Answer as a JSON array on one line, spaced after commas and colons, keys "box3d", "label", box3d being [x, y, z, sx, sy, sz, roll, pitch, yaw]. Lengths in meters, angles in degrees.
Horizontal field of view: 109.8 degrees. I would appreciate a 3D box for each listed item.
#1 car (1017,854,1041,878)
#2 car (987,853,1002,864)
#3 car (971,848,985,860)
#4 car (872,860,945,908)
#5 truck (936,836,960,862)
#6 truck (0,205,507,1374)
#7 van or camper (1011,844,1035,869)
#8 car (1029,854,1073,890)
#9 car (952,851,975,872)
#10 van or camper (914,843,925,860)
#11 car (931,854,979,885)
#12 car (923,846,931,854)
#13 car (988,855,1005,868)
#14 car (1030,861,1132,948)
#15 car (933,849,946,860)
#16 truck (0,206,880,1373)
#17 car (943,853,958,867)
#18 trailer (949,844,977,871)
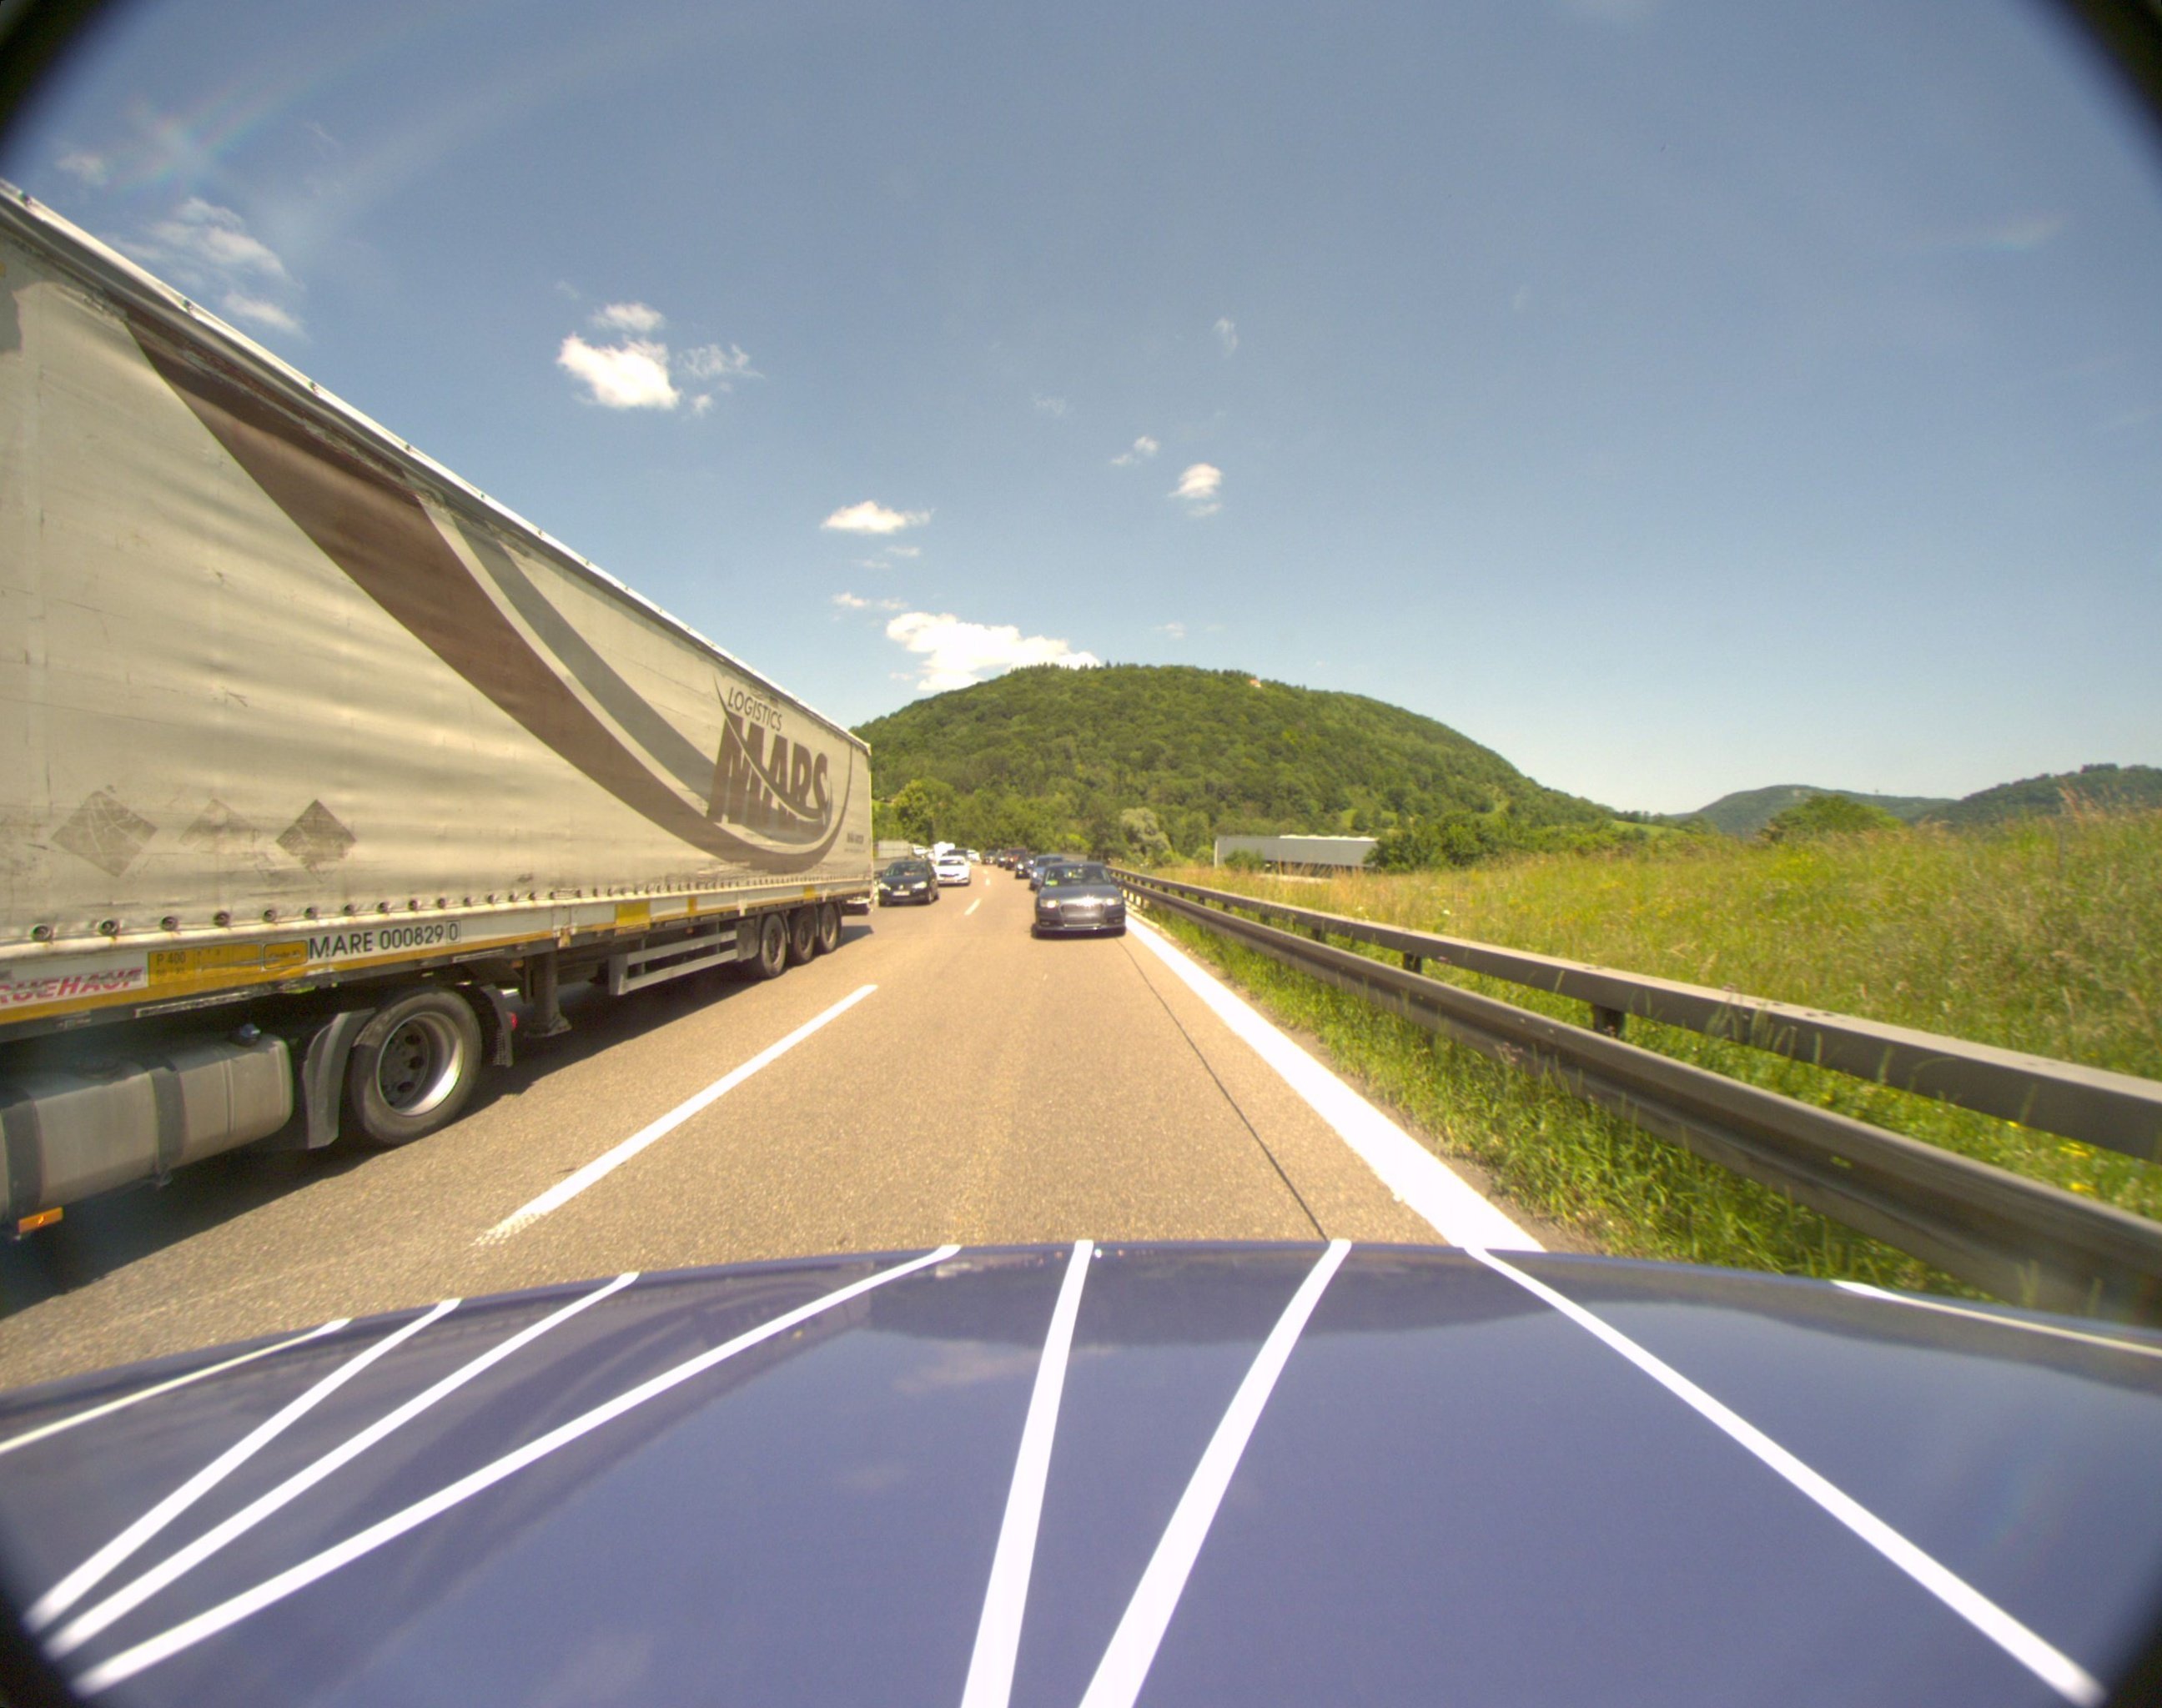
[{"box3d": [-3.074, 0.671, 44.579, 1.287, 1.305, 3.451, -2, 0, -5], "label": "car"}, {"box3d": [-10.104, 0.528, 88.509, 1.492, 1.102, 3.211, -2, 1, -9], "label": "car"}, {"box3d": [-14.223, 0.008, 104.728, 1.532, 1.627, 3.415, -4, 0, -13], "label": "car"}, {"box3d": [-5.659, 0.942, 25.363, 1.696, 1.414, 3.837, -2, 0, -3], "label": "car"}, {"box3d": [-16.787, -0.592, 95.442, 2.605, 3.089, 6.852, -4, 0, -11], "label": "truck"}, {"box3d": [-5.072, -0.212, 2.017, 2.726, 4.044, 5.752, -2, 1, -2], "label": "truck"}, {"box3d": [-4.674, 0.205, 60.848, 1.818, 1.855, 3.611, -2, 0, -5], "label": "van or camper"}, {"box3d": [-1.279, 0.720, 32.188, 1.696, 1.422, 3.462, -2, 0, -3], "label": "car"}, {"box3d": [-8.407, 0.541, 54.656, 1.489, 1.375, 3.735, -3, 1, -8], "label": "car"}, {"box3d": [-28.291, -0.406, 133.067, 1.911, 3.010, 4.869, -1, 0, -12], "label": "van or camper"}, {"box3d": [-6.273, 0.751, 38.111, 1.908, 1.422, 3.721, -2, 0, -3], "label": "car"}, {"box3d": [-30.462, -0.695, 150.234, 1.246, 1.470, 2.958, -4, 0, -10], "label": "car"}, {"box3d": [-7.947, 0.667, 71.271, 1.492, 1.102, 3.212, -2, 1, -6], "label": "car"}, {"box3d": [-0.087, 0.913, 15.432, 1.755, 1.382, 4.053, -2, 1, -2], "label": "car"}, {"box3d": [-21.327, 0.138, 114.449, 1.700, 1.523, 3.677, -4, 0, -10], "label": "car"}, {"box3d": [-5.376, -0.282, 9.096, 2.733, 4.044, 13.736, -2, 1, -2], "label": "truck"}, {"box3d": [-15.210, 0.679, 88.566, 1.622, 1.565, 3.512, -3, 1, -11], "label": "car"}, {"box3d": [-9.001, 0.236, 58.431, 2.000, 1.958, 3.997, -1, 1, -8], "label": "trailer"}]
